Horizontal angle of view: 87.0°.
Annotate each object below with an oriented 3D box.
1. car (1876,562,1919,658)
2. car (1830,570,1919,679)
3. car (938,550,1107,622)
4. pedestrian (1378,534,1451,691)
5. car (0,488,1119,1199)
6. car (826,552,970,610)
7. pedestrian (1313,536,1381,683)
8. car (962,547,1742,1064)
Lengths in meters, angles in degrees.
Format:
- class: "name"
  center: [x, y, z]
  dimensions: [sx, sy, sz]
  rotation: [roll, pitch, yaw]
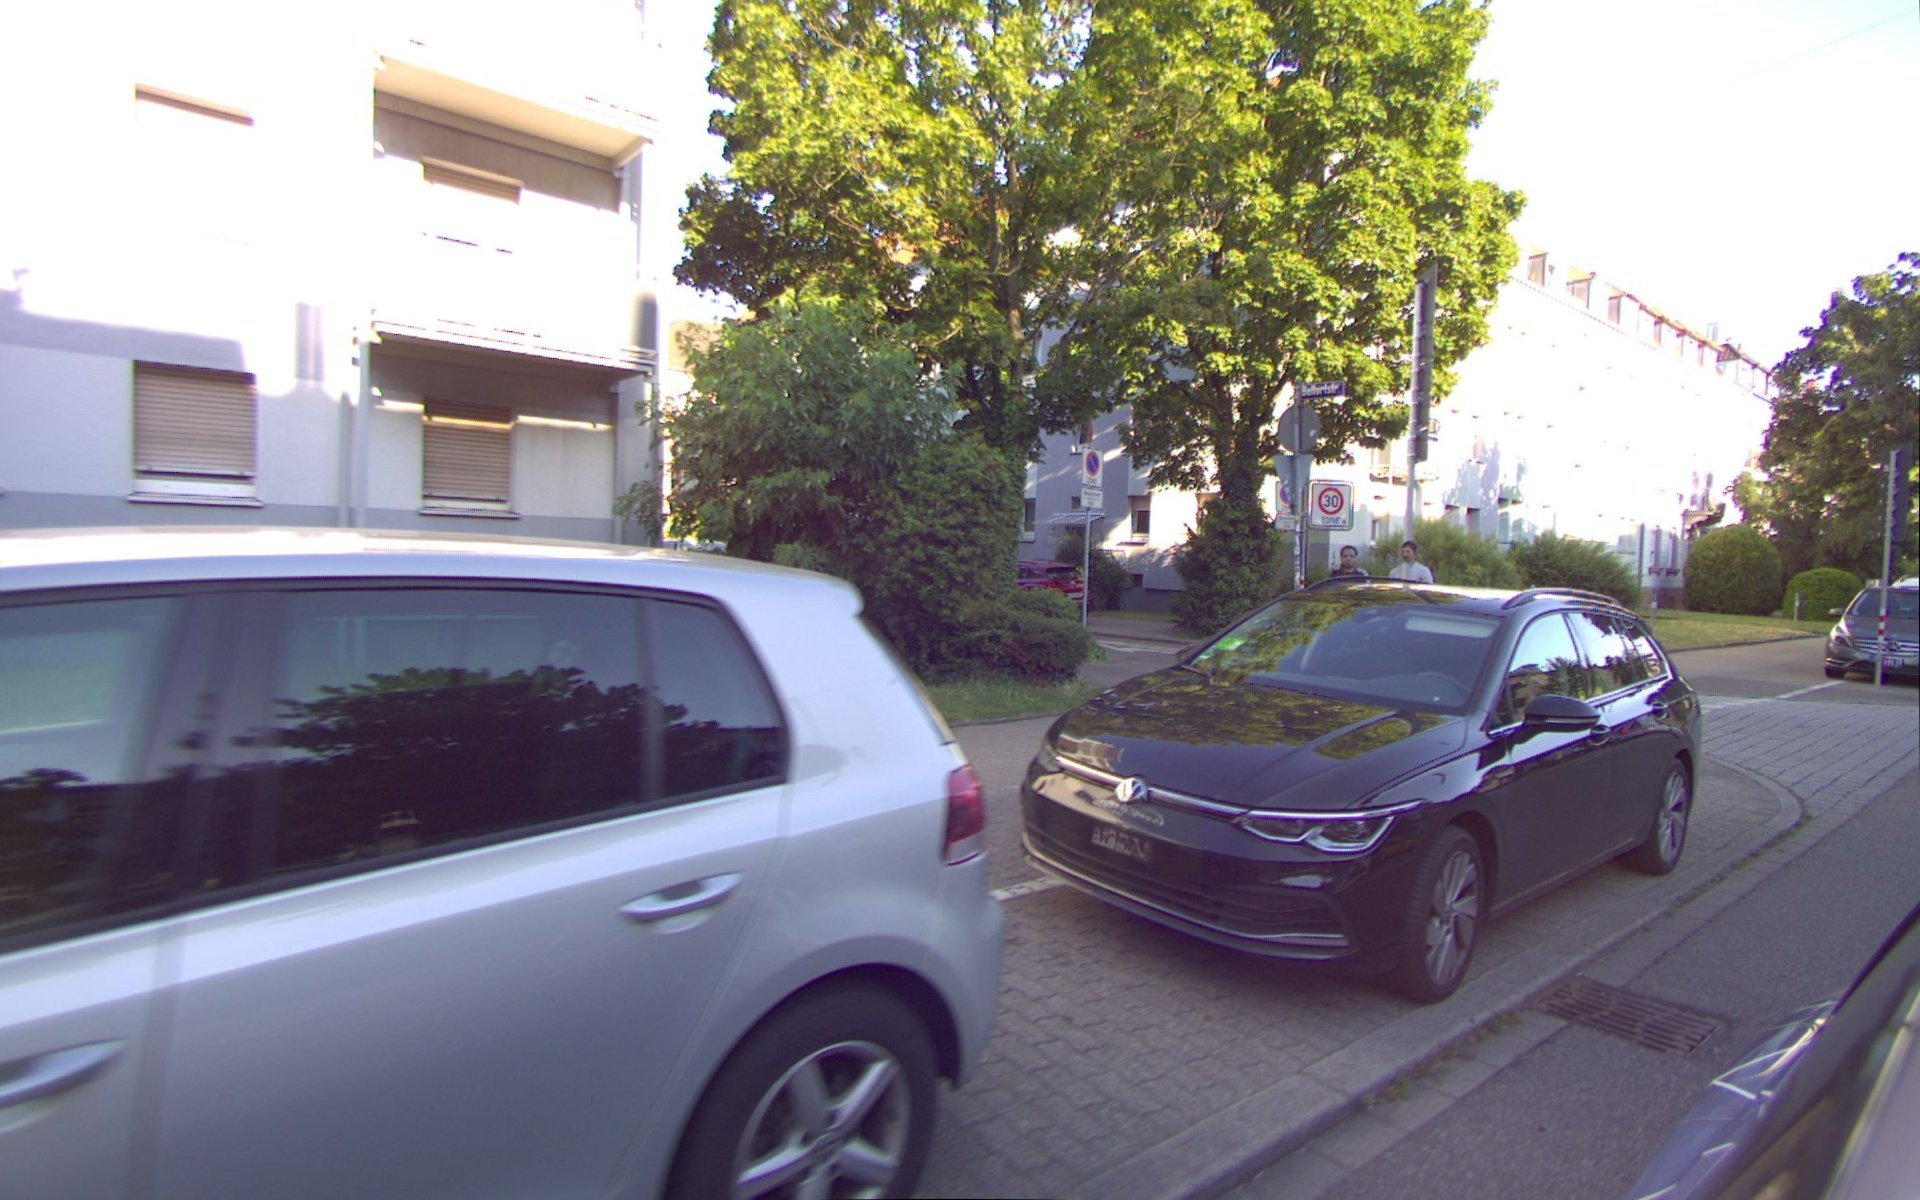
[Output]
- class: "car"
  center: [19.881, 0.215, 20.262]
  dimensions: [3.932, 1.792, 1.797]
  rotation: [0, 5, -42]
- class: "car"
  center: [15.930, 0.377, 16.727]
  dimensions: [3.932, 1.605, 1.797]
  rotation: [0, 5, -42]
- class: "car"
  center: [1.519, -0.434, 25.621]
  dimensions: [3.989, 1.574, 1.969]
  rotation: [4, 6, 44]
- class: "pedestrian"
  center: [5.235, 0.125, 11.672]
  dimensions: [0.398, 1.749, 0.593]
  rotation: [0, 3, -39]
- class: "car"
  center: [-1.811, 0.541, 1.690]
  dimensions: [4.229, 1.461, 1.738]
  rotation: [0, 3, -41]
- class: "car"
  center: [-1.809, -0.599, 28.785]
  dimensions: [3.989, 1.414, 1.969]
  rotation: [4, 6, 44]
- class: "pedestrian"
  center: [4.741, 0.102, 12.400]
  dimensions: [0.398, 1.749, 0.593]
  rotation: [0, 3, -39]
- class: "car"
  center: [2.209, 0.579, 4.996]
  dimensions: [4.263, 1.461, 1.738]
  rotation: [0, 3, -41]
